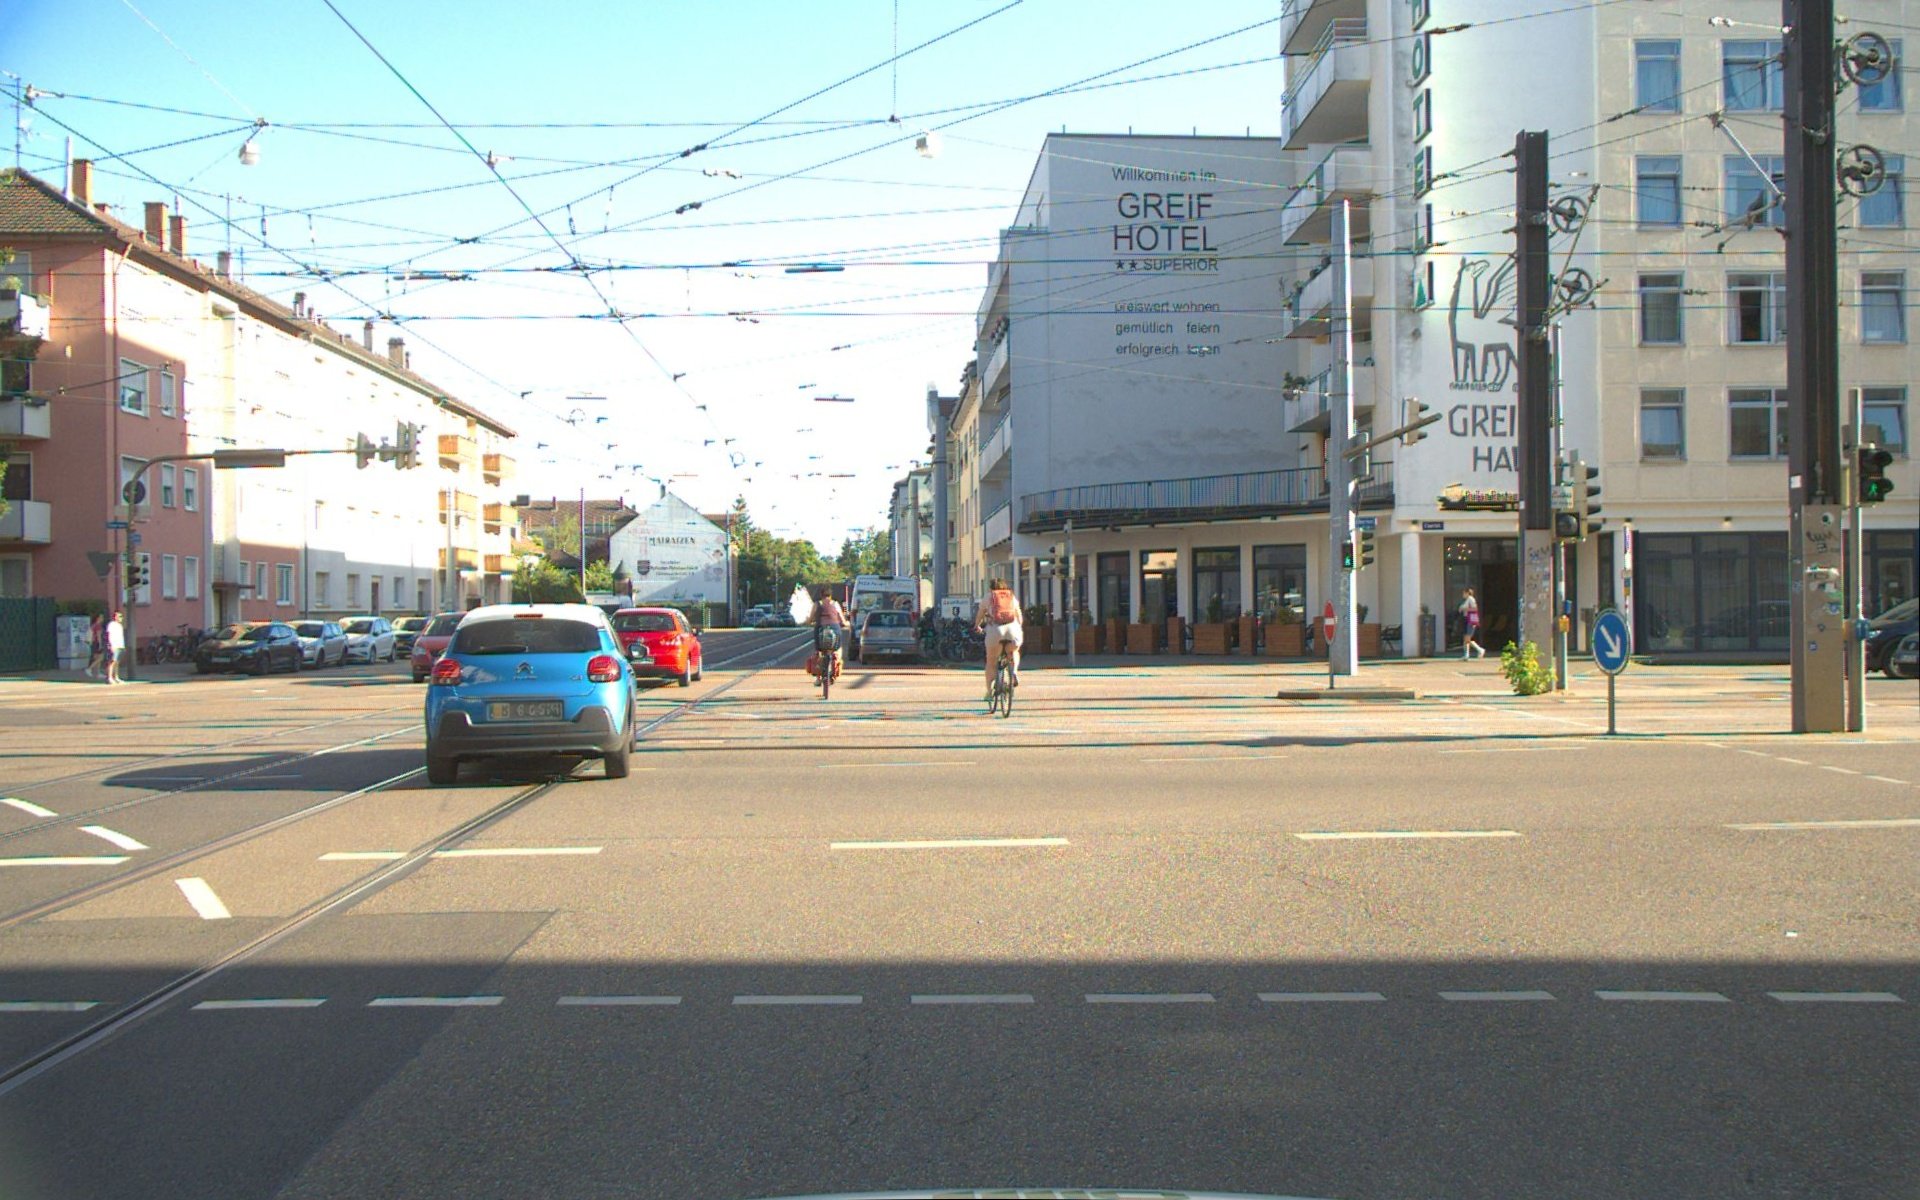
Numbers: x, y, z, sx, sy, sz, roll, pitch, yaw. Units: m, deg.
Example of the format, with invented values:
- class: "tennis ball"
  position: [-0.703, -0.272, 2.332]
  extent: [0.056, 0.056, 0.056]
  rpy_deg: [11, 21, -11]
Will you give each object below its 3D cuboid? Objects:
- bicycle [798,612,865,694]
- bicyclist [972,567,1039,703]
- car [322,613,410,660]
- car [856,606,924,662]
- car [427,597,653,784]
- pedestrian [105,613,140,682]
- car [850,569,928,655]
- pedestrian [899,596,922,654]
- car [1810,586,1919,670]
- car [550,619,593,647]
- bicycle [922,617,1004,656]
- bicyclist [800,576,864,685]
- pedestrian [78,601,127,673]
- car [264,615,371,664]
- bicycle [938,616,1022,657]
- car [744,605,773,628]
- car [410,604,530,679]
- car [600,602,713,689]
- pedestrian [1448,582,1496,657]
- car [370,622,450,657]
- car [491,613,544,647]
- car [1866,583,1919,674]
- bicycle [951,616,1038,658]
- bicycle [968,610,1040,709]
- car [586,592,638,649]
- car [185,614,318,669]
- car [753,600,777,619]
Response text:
- class: "bicycle"
  position: [-2.037, 0.833, 26.484]
  extent: [0.921, 1.245, 2.094]
  rpy_deg: [1, -1, -1]
- class: "bicyclist"
  position: [0.603, 0.450, 21.490]
  extent: [0.794, 1.721, 0.935]
  rpy_deg: [1, -1, 4]
- class: "car"
  position: [-20.498, 1.245, 57.243]
  extent: [1.707, 1.553, 4.227]
  rpy_deg: [1, -1, -3]
- class: "car"
  position: [-1.981, 0.924, 45.876]
  extent: [1.625, 1.456, 3.883]
  rpy_deg: [1, -1, -6]
- class: "car"
  position: [-3.702, 0.743, 15.106]
  extent: [1.705, 1.478, 3.653]
  rpy_deg: [0, -1, -10]
- class: "pedestrian"
  position: [-19.808, 1.117, 39.108]
  extent: [0.506, 1.596, 0.573]
  rpy_deg: [1, -1, -3]
- class: "car"
  position: [-2.241, 0.377, 50.914]
  extent: [2.221, 2.525, 5.003]
  rpy_deg: [0, -1, -5]
- class: "pedestrian"
  position: [-1.434, 0.723, 48.112]
  extent: [0.601, 1.683, 0.670]
  rpy_deg: [1, -1, -5]
- class: "car"
  position: [19.085, 0.551, 32.422]
  extent: [3.952, 1.603, 1.794]
  rpy_deg: [0, -1, -3]
- class: "car"
  position: [-22.779, 1.919, 97.090]
  extent: [1.833, 1.604, 3.995]
  rpy_deg: [1, -1, -5]
- class: "bicycle"
  position: [0.064, 1.016, 46.351]
  extent: [2.207, 1.019, 0.855]
  rpy_deg: [-2, -1, -5]
- class: "bicyclist"
  position: [-2.044, 0.491, 26.602]
  extent: [0.921, 1.702, 1.079]
  rpy_deg: [1, -1, -1]
- class: "pedestrian"
  position: [-21.146, 0.912, 40.784]
  extent: [0.690, 1.752, 0.782]
  rpy_deg: [1, -1, 33]
- class: "car"
  position: [-20.363, 1.239, 52.606]
  extent: [1.865, 1.462, 4.101]
  rpy_deg: [1, -1, -2]
- class: "bicycle"
  position: [0.541, 0.987, 45.266]
  extent: [2.207, 1.019, 0.855]
  rpy_deg: [-2, -1, -5]
- class: "car"
  position: [-17.983, 1.505, 148.068]
  extent: [2.174, 1.965, 4.946]
  rpy_deg: [1, -1, -3]
- class: "car"
  position: [-10.645, 0.881, 36.159]
  extent: [1.744, 1.512, 3.824]
  rpy_deg: [-1, -1, -5]
- class: "car"
  position: [-5.870, 0.838, 32.320]
  extent: [1.750, 1.548, 3.759]
  rpy_deg: [1, 0, -5]
- class: "pedestrian"
  position: [12.313, 0.466, 39.763]
  extent: [0.889, 1.777, 0.737]
  rpy_deg: [1, -1, -3]
- class: "car"
  position: [-21.200, 1.490, 63.946]
  extent: [1.908, 1.261, 4.279]
  rpy_deg: [1, -1, -4]
- class: "car"
  position: [-21.987, 1.498, 82.361]
  extent: [1.833, 1.604, 3.995]
  rpy_deg: [1, -1, -5]
- class: "car"
  position: [18.723, 0.507, 29.233]
  extent: [4.347, 1.575, 1.936]
  rpy_deg: [0, -1, 1]
- class: "bicycle"
  position: [0.915, 0.981, 44.044]
  extent: [2.207, 1.019, 0.855]
  rpy_deg: [-2, -1, -5]
- class: "bicycle"
  position: [0.593, 0.755, 21.484]
  extent: [0.794, 1.202, 2.065]
  rpy_deg: [1, -1, 5]
- class: "car"
  position: [-20.356, 1.195, 97.022]
  extent: [2.369, 3.197, 3.486]
  rpy_deg: [1, -1, -3]
- class: "car"
  position: [-20.096, 1.212, 47.155]
  extent: [2.112, 1.457, 4.435]
  rpy_deg: [1, -3, -5]
- class: "car"
  position: [-19.524, 0.964, 165.501]
  extent: [2.033, 1.793, 5.033]
  rpy_deg: [1, -1, -3]
